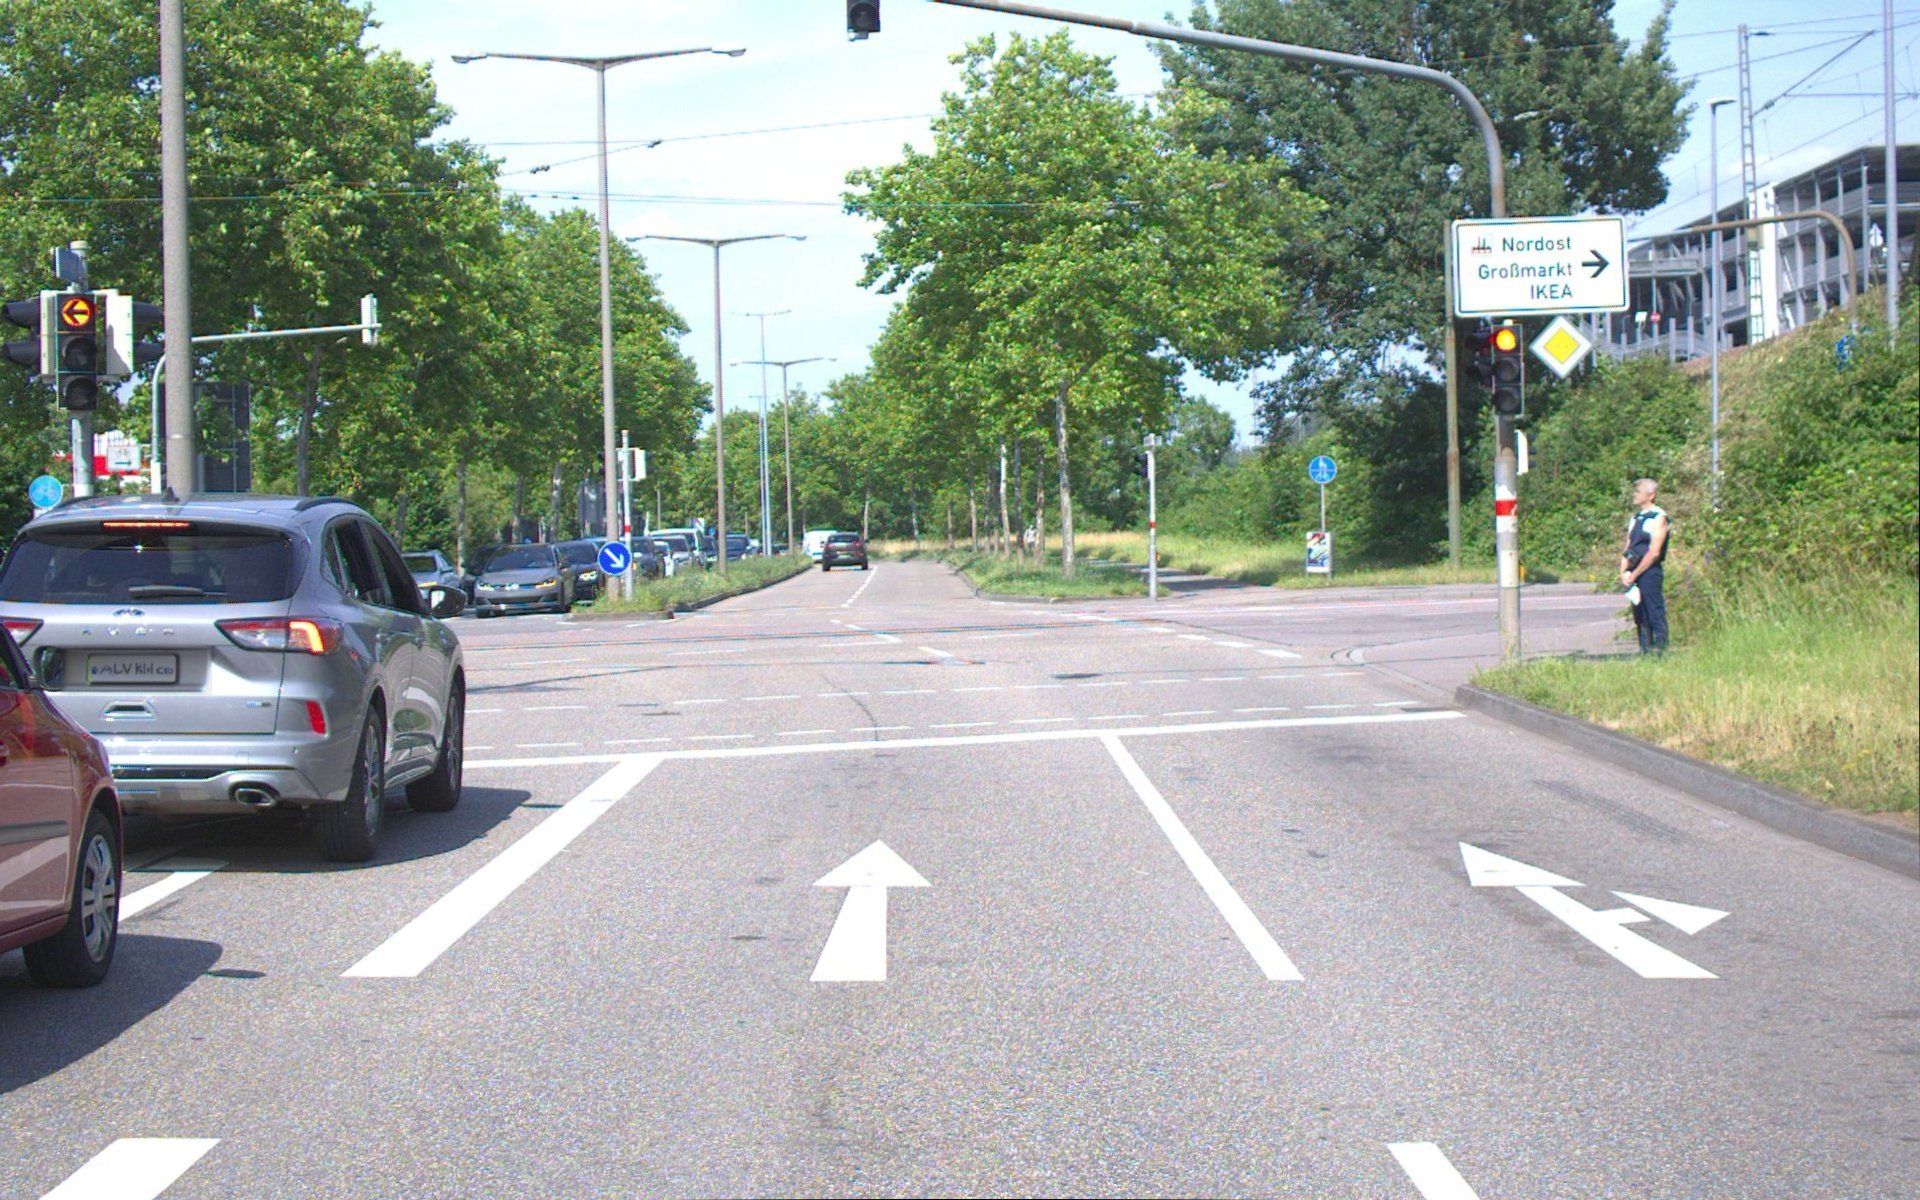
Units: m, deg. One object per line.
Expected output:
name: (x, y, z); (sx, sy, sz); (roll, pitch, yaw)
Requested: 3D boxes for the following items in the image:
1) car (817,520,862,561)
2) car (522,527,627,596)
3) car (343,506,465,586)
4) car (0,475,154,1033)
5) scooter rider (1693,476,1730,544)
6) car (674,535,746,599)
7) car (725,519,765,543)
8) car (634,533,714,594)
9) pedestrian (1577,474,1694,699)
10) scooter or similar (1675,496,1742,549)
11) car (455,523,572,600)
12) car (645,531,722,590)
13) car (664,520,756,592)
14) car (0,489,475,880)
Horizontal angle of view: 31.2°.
car: (-5.025, -2.512, 144.097); (1.736, 1.530, 4.001); (-1, 3, 0)
car: (-8.799, -0.898, 78.764); (1.993, 1.495, 4.000); (-1, 1, -1)
car: (-11.900, -1.180, 73.777); (1.993, 1.507, 4.001); (-1, 3, -1)
car: (-3.560, 0.452, 9.788); (1.628, 1.590, 3.918); (-1, 0, -1)
scooter rider: (16.071, -1.922, 73.534); (0.675, 1.423, 0.492); (-1, 1, 5)
car: (-7.785, -1.052, 107.316); (1.993, 1.889, 4.376); (-1, 1, -1)
car: (-15.365, -4.924, 245.657); (1.865, 1.689, 4.411); (-1, 1, -16)
car: (-7.894, -1.025, 95.082); (1.903, 1.590, 4.000); (-1, 1, -1)
pedestrian: (5.944, -0.129, 30.276); (0.837, 1.926, 0.772); (-1, 3, -4)
scooter or similar: (16.013, -1.658, 73.546); (1.344, 1.094, 0.492); (-1, 1, 5)
car: (-9.220, -0.828, 71.286); (1.918, 1.508, 4.000); (-1, 1, -1)
car: (-8.155, -1.188, 101.628); (1.993, 1.672, 4.000); (-1, 1, -1)
car: (-6.131, -1.101, 84.751); (1.993, 1.690, 4.000); (-1, 1, -1)
car: (-3.538, 0.314, 16.448); (1.881, 1.612, 4.213); (-1, 1, -1)
